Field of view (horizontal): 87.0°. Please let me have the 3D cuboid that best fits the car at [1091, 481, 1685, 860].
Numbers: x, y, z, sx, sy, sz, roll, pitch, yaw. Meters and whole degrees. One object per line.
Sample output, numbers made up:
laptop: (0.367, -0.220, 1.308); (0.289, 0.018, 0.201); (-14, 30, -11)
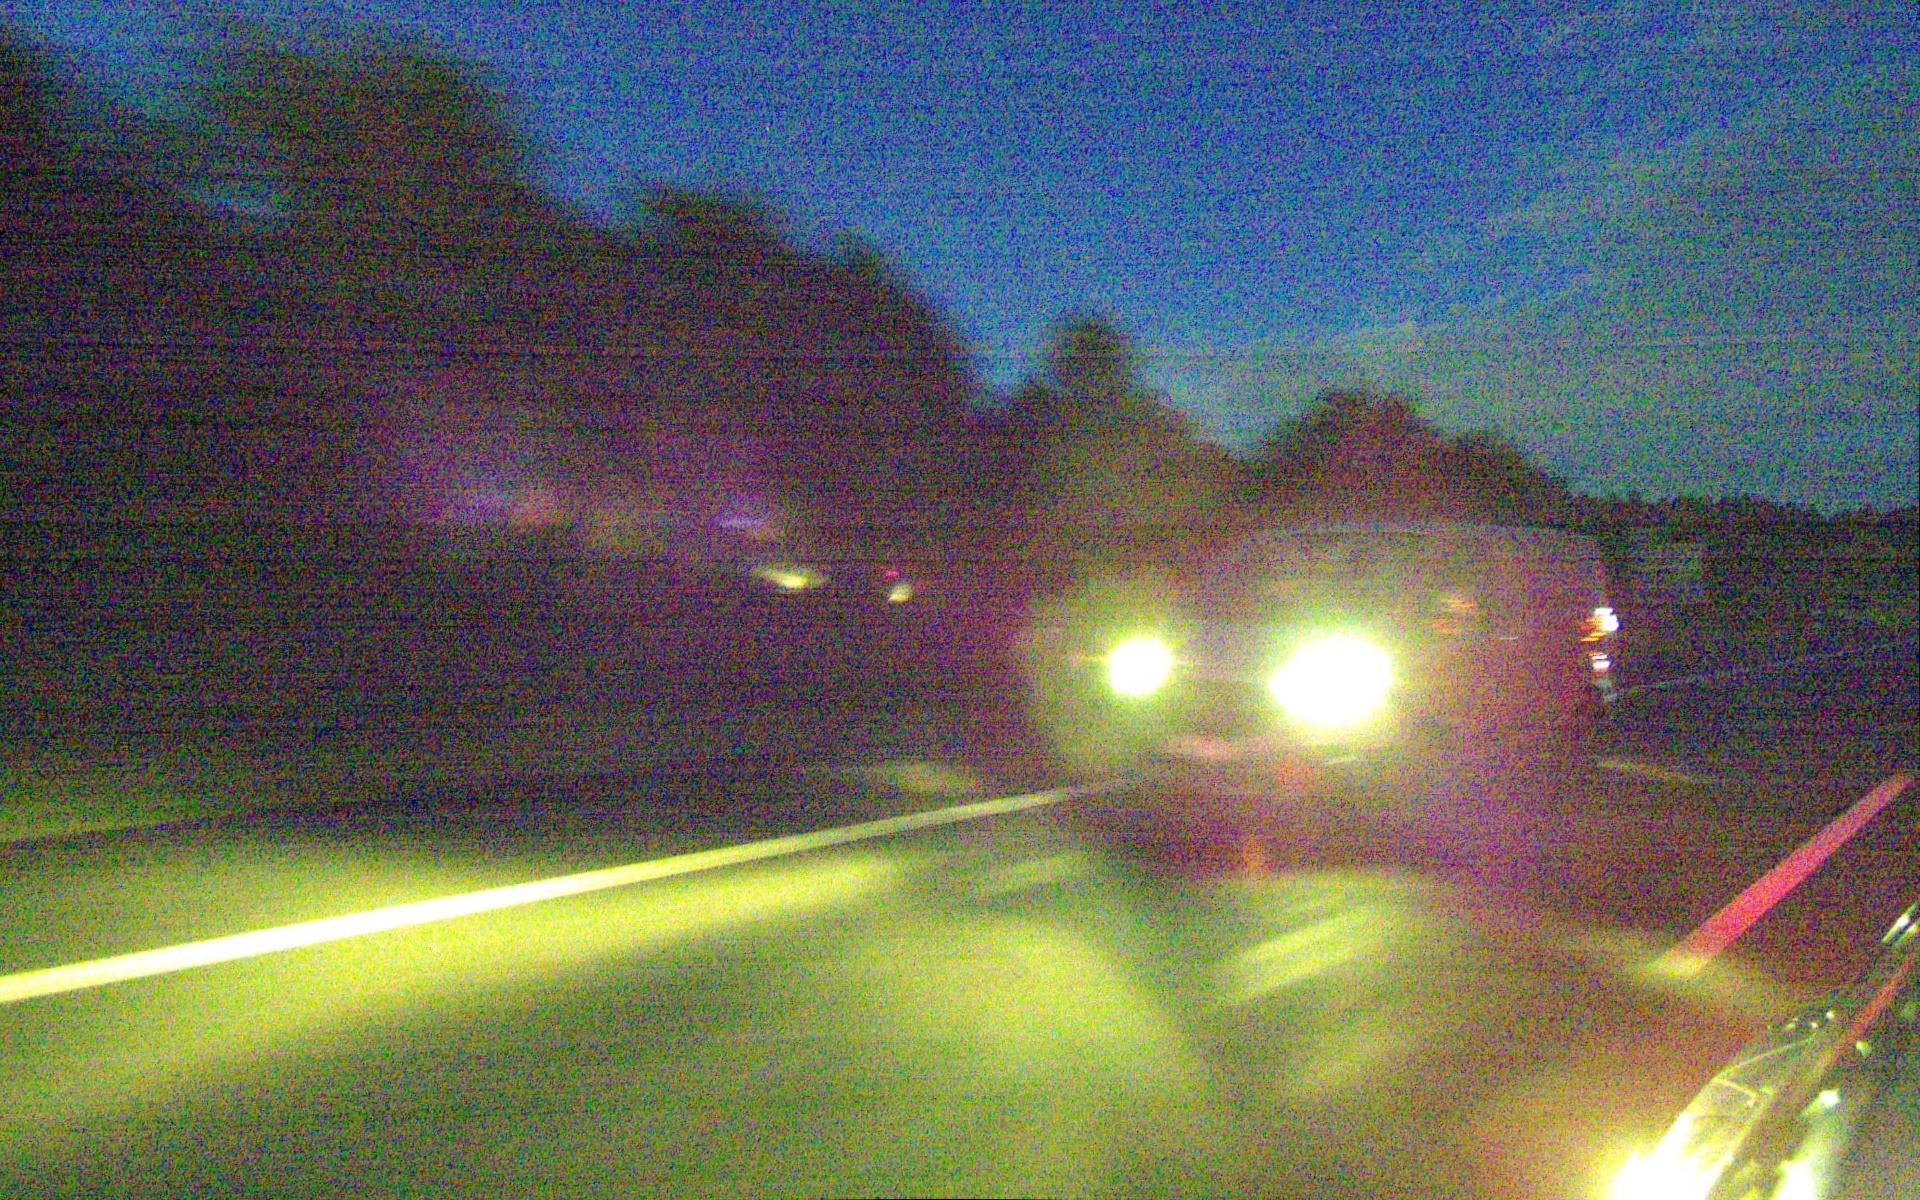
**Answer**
car: (3.692, 0.332, 8.032); (5.565, 2.026, 2.119); (-1, 1, -41)
